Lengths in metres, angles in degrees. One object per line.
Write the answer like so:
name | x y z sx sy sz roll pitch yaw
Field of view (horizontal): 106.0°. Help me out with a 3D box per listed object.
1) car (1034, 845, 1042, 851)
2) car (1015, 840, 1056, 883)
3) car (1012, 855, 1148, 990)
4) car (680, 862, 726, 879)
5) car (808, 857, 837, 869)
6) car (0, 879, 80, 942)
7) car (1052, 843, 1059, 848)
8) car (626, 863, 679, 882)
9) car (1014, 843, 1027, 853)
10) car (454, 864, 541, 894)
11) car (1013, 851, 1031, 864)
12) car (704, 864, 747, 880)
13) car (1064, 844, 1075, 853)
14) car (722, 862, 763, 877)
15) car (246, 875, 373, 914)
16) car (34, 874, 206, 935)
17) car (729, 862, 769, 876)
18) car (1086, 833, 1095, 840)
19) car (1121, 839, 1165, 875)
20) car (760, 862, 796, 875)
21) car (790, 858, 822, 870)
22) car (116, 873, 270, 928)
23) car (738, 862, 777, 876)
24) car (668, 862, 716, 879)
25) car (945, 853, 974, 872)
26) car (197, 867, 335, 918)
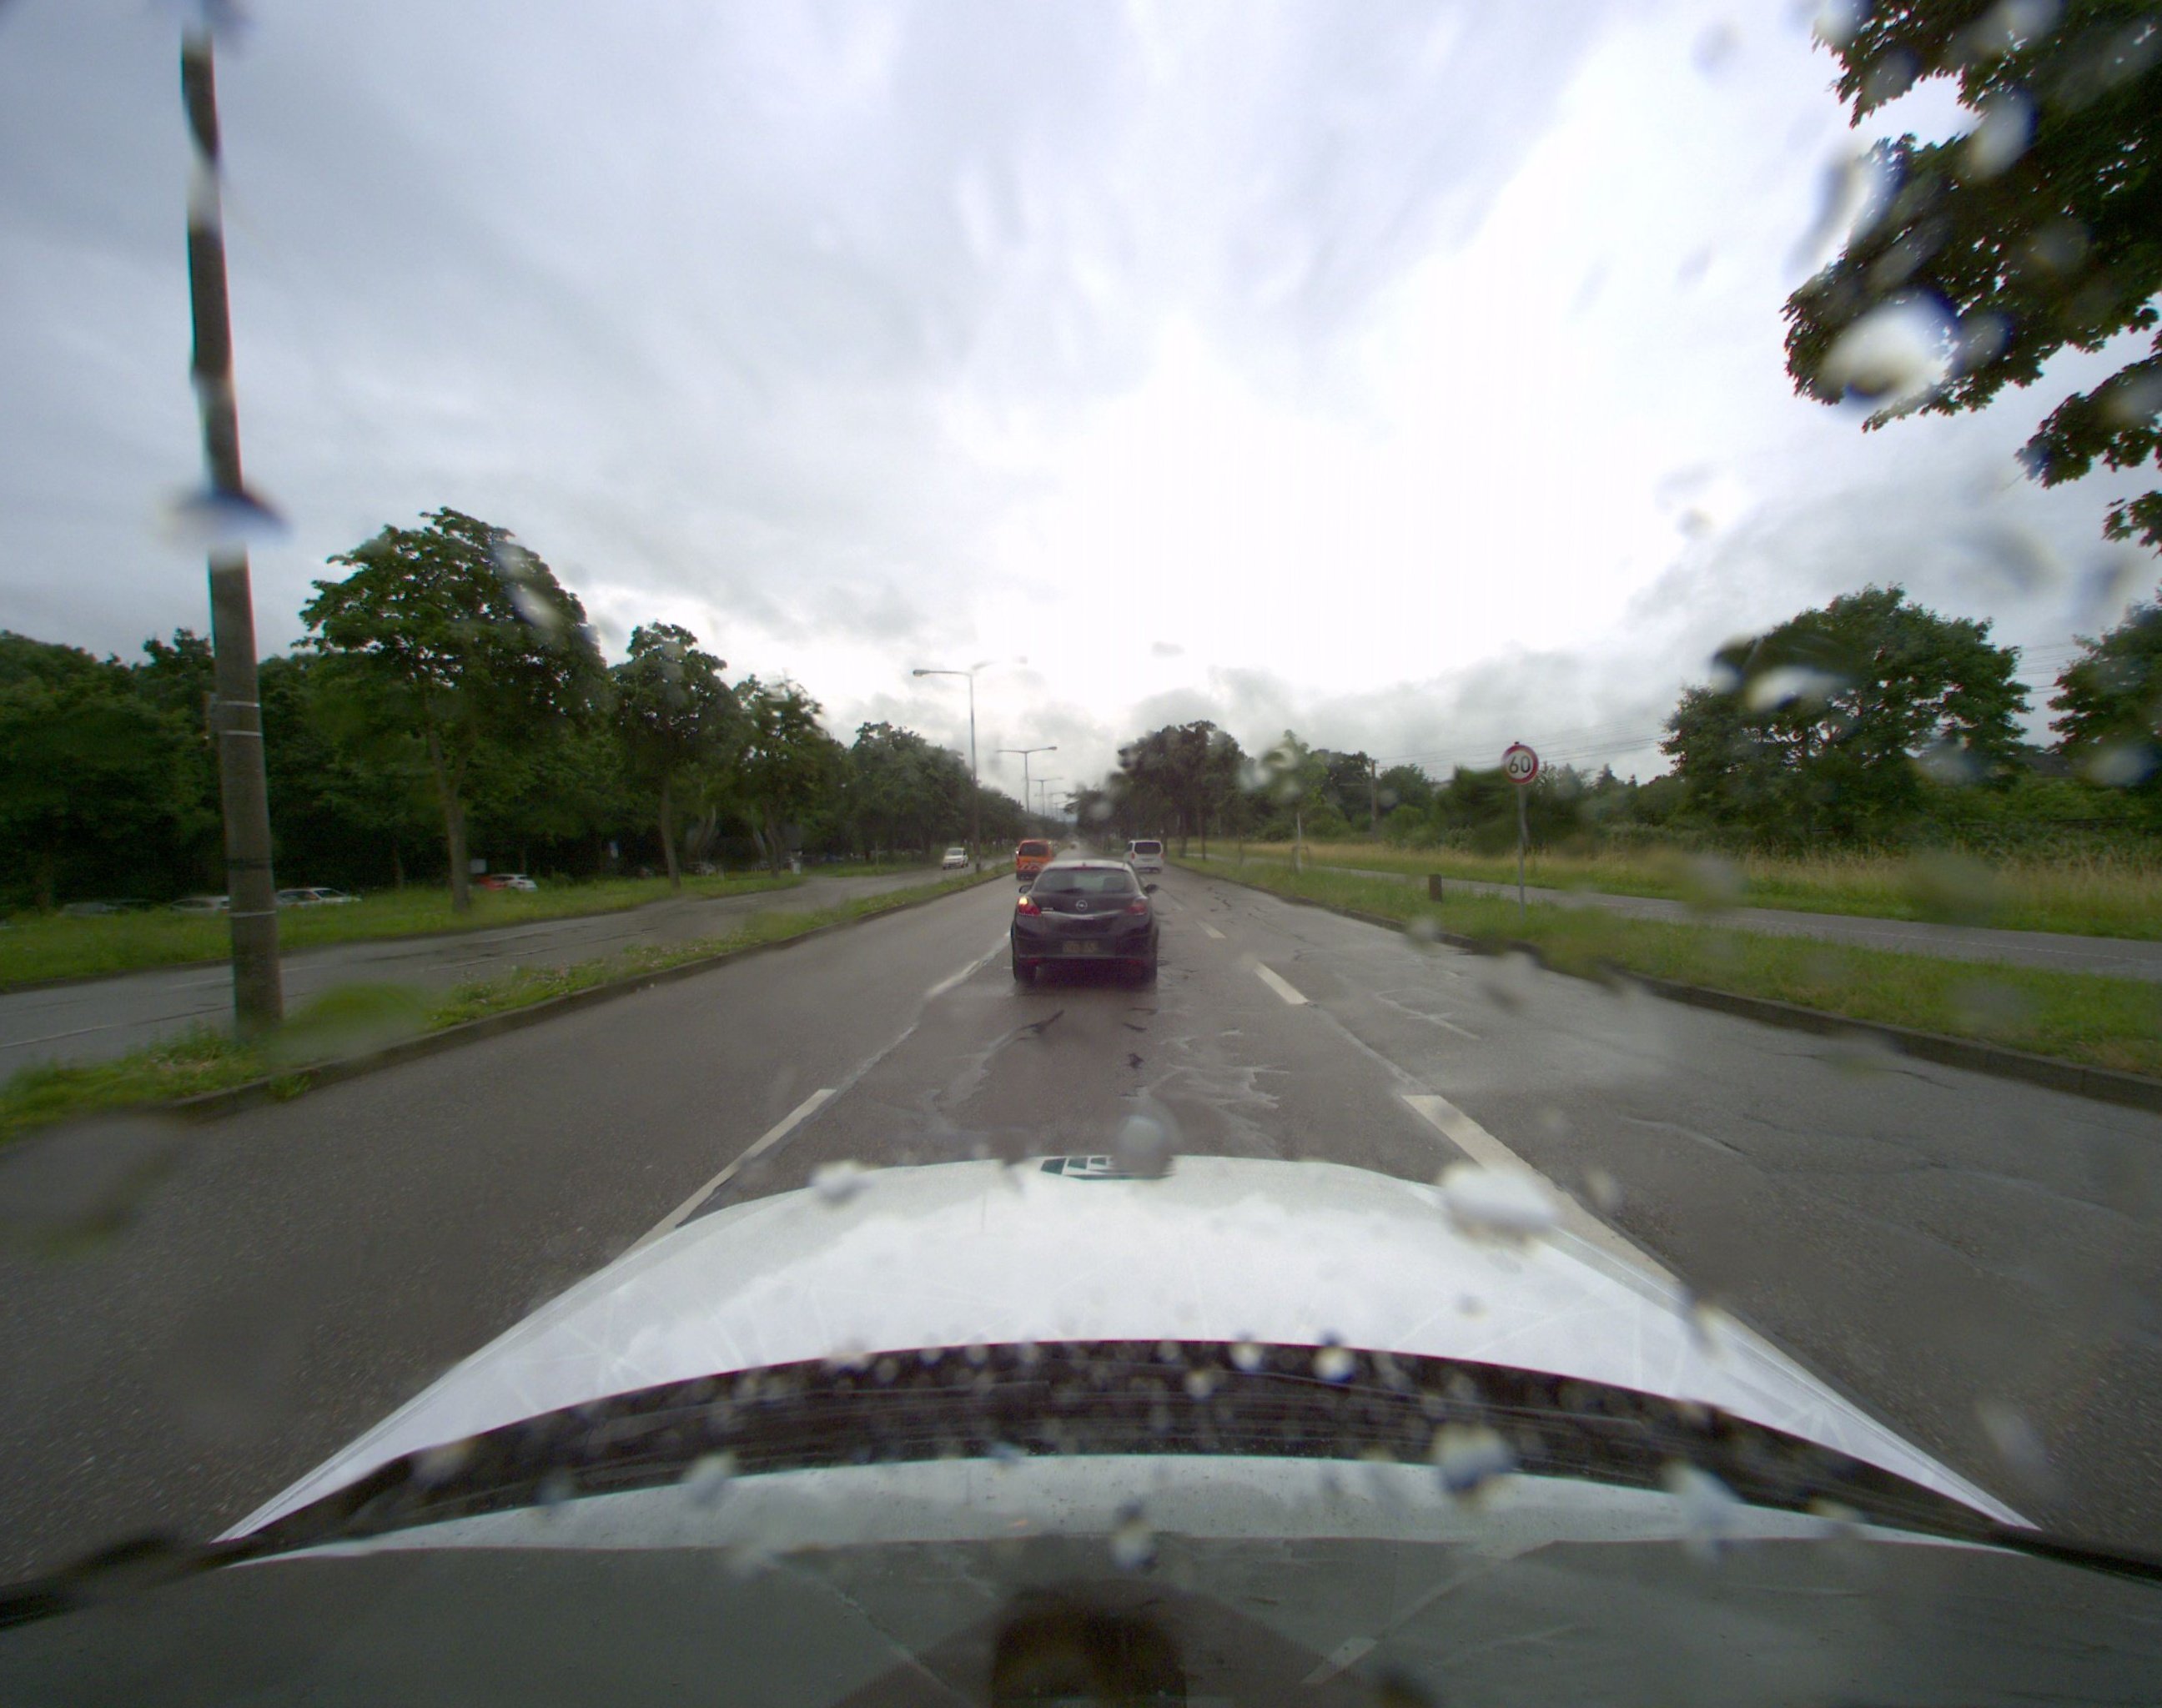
car | -10.967 -1.494 209.796 1.714 1.529 3.811 -2 2 2
car | -2.176 0.349 40.195 1.729 2.019 4.849 0 0 0
car | 0.114 0.752 10.755 1.456 1.328 3.762 -1 2 4
car | -37.893 1.632 81.770 3.828 1.452 1.523 -2 0 -4
car | -37.033 1.290 116.644 3.841 1.452 1.517 -2 0 -14
car | -37.369 1.959 27.654 3.979 2.013 1.997 -2 0 -4
car | -8.097 -2.796 258.504 1.714 1.529 3.810 -2 0 2
car | -37.581 1.615 71.449 3.726 1.426 1.486 -2 0 -4
car | -10.091 -1.015 136.736 1.714 1.529 3.811 -2 2 2
car | -36.686 1.566 51.308 3.979 1.640 1.909 -2 0 -4
car | -7.070 0.359 97.935 1.820 1.450 3.810 -2 0 2
car | -37.730 1.929 86.485 3.828 1.452 1.523 -2 0 -4
car | -2.638 -1.219 187.089 1.985 1.879 4.004 -1 0 4
car | -37.248 1.687 89.570 3.828 1.452 1.523 -2 0 -4
car | -36.851 1.917 39.003 3.979 1.618 1.997 -2 0 -4
car | -36.918 1.905 31.391 3.979 2.013 1.997 -2 0 -4
car | -37.534 1.711 91.989 3.828 1.452 1.523 -2 0 -4
car | 2.705 -4.848 228.723 2.507 2.052 5.294 0 1 1
car | 3.592 0.191 47.955 2.054 1.974 4.603 -1 0 -3
car | -37.937 1.829 101.986 3.828 1.452 1.523 -2 0 -4
car | -37.051 1.372 109.684 3.837 1.452 1.519 -2 0 -11
car | -37.040 1.902 34.052 3.979 2.013 1.997 -2 0 -4
car | -37.547 1.746 94.596 3.828 1.452 1.523 -2 0 -4
car | -37.741 1.607 79.091 3.828 1.452 1.523 -2 0 -4
car | -10.200 0.699 68.514 1.676 1.554 4.003 -1 0 3
car | -36.632 1.709 36.704 3.979 2.013 1.997 -2 0 -4
